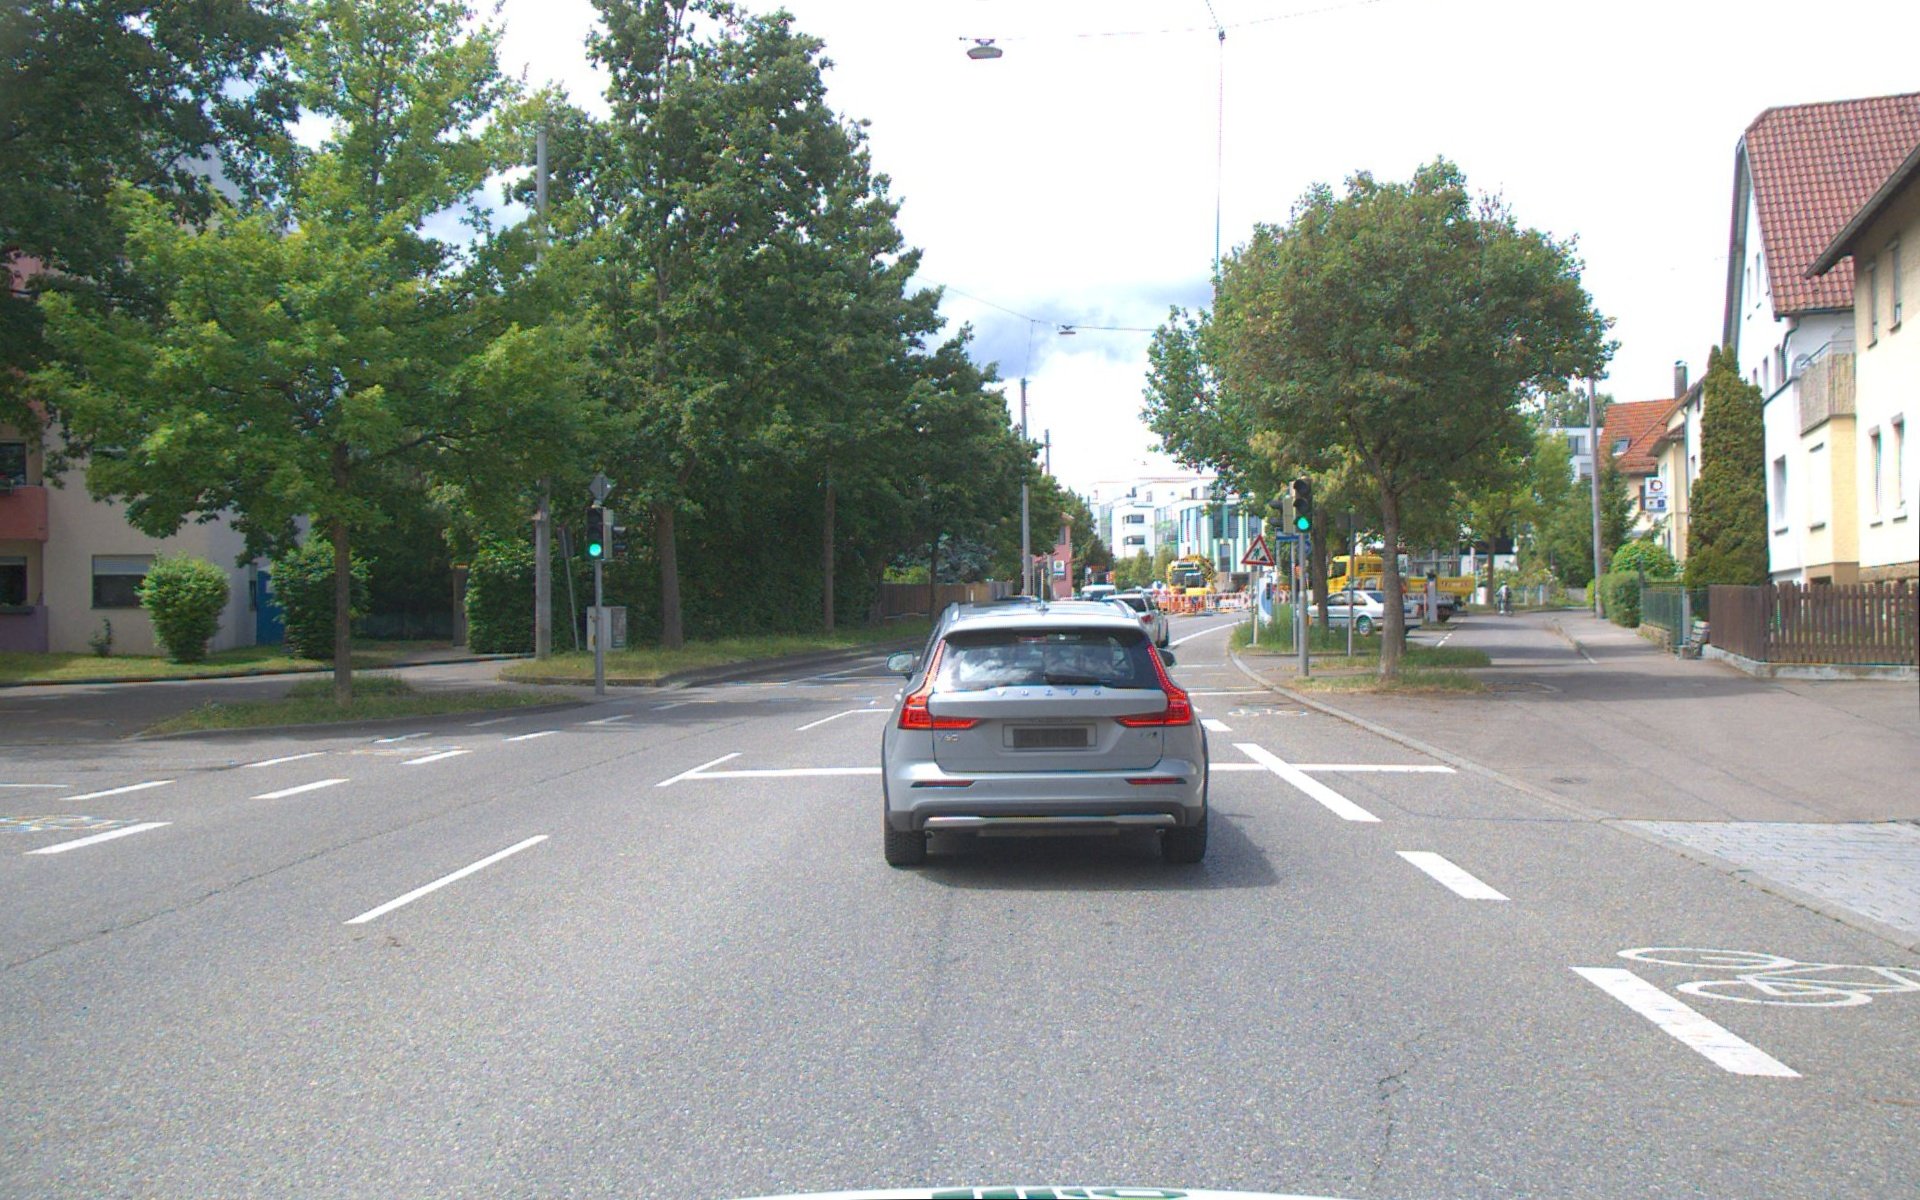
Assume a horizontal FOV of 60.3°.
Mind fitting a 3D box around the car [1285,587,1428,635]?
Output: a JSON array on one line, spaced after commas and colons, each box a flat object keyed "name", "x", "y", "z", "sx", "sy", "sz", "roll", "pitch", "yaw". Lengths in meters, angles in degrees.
[{"name": "car", "x": 12.832, "y": 0.333, "z": 53.759, "sx": 1.746, "sy": 1.477, "sz": 4.637, "roll": 0, "pitch": 0, "yaw": -32}]

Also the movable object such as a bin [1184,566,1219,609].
[{"name": "movable object such as a bin", "x": 15.902, "y": -0.833, "z": 108.806, "sx": 1.991, "sy": 2.689, "sz": 5.945, "roll": -1, "pitch": 0, "yaw": 10}]

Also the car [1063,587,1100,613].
[{"name": "car", "x": 8.427, "y": -0.025, "z": 114.223, "sx": 1.840, "sy": 1.717, "sz": 4.251, "roll": -3, "pitch": 0, "yaw": 13}]

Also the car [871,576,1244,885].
[{"name": "car", "x": 0.578, "y": 0.679, "z": 10.416, "sx": 1.888, "sy": 1.567, "sz": 4.001, "roll": 0, "pitch": 0, "yaw": 2}]

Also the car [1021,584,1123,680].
[{"name": "car", "x": 1.926, "y": 0.556, "z": 29.290, "sx": 1.627, "sy": 1.534, "sz": 3.703, "roll": 2, "pitch": -1, "yaw": 2}]

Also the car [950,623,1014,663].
[{"name": "car", "x": 0.833, "y": 1.583, "z": 60.058, "sx": 1.789, "sy": 1.353, "sz": 4.003, "roll": 1, "pitch": -2, "yaw": 9}]

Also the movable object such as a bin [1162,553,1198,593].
[{"name": "movable object such as a bin", "x": 17.547, "y": -2.095, "z": 132.199, "sx": 2.262, "sy": 3.042, "sz": 6.429, "roll": -1, "pitch": 0, "yaw": 3}]

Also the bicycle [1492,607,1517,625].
[{"name": "bicycle", "x": 26.025, "y": 0.759, "z": 79.045, "sx": 0.582, "sy": 0.826, "sz": 1.753, "roll": 1, "pitch": 0, "yaw": -2}]

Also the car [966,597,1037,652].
[{"name": "car", "x": 1.355, "y": 0.758, "z": 52.050, "sx": 1.858, "sy": 1.607, "sz": 4.003, "roll": -2, "pitch": -1, "yaw": 6}]

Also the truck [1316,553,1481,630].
[{"name": "truck", "x": 18.530, "y": -0.337, "z": 70.258, "sx": 2.737, "sy": 3.061, "sz": 6.625, "roll": 2, "pitch": -1, "yaw": -34}]

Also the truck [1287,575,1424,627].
[{"name": "truck", "x": 16.328, "y": 0.042, "z": 68.547, "sx": 1.977, "sy": 2.049, "sz": 5.607, "roll": 2, "pitch": -1, "yaw": -35}]

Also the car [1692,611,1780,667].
[{"name": "car", "x": 17.197, "y": 0.866, "z": 36.756, "sx": 1.432, "sy": 1.144, "sz": 3.872, "roll": 1, "pitch": -1, "yaw": 20}]

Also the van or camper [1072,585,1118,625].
[{"name": "van or camper", "x": 6.467, "y": 0.228, "z": 78.710, "sx": 1.821, "sy": 1.807, "sz": 4.384, "roll": -1, "pitch": 0, "yaw": 9}]

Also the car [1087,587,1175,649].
[{"name": "car", "x": 4.635, "y": 0.499, "z": 44.335, "sx": 2.057, "sy": 1.536, "sz": 4.003, "roll": 1, "pitch": -1, "yaw": 10}]

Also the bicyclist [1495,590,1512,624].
[{"name": "bicyclist", "x": 25.999, "y": 0.346, "z": 79.082, "sx": 0.577, "sy": 1.586, "sz": 0.566, "roll": 1, "pitch": -1, "yaw": -2}]
